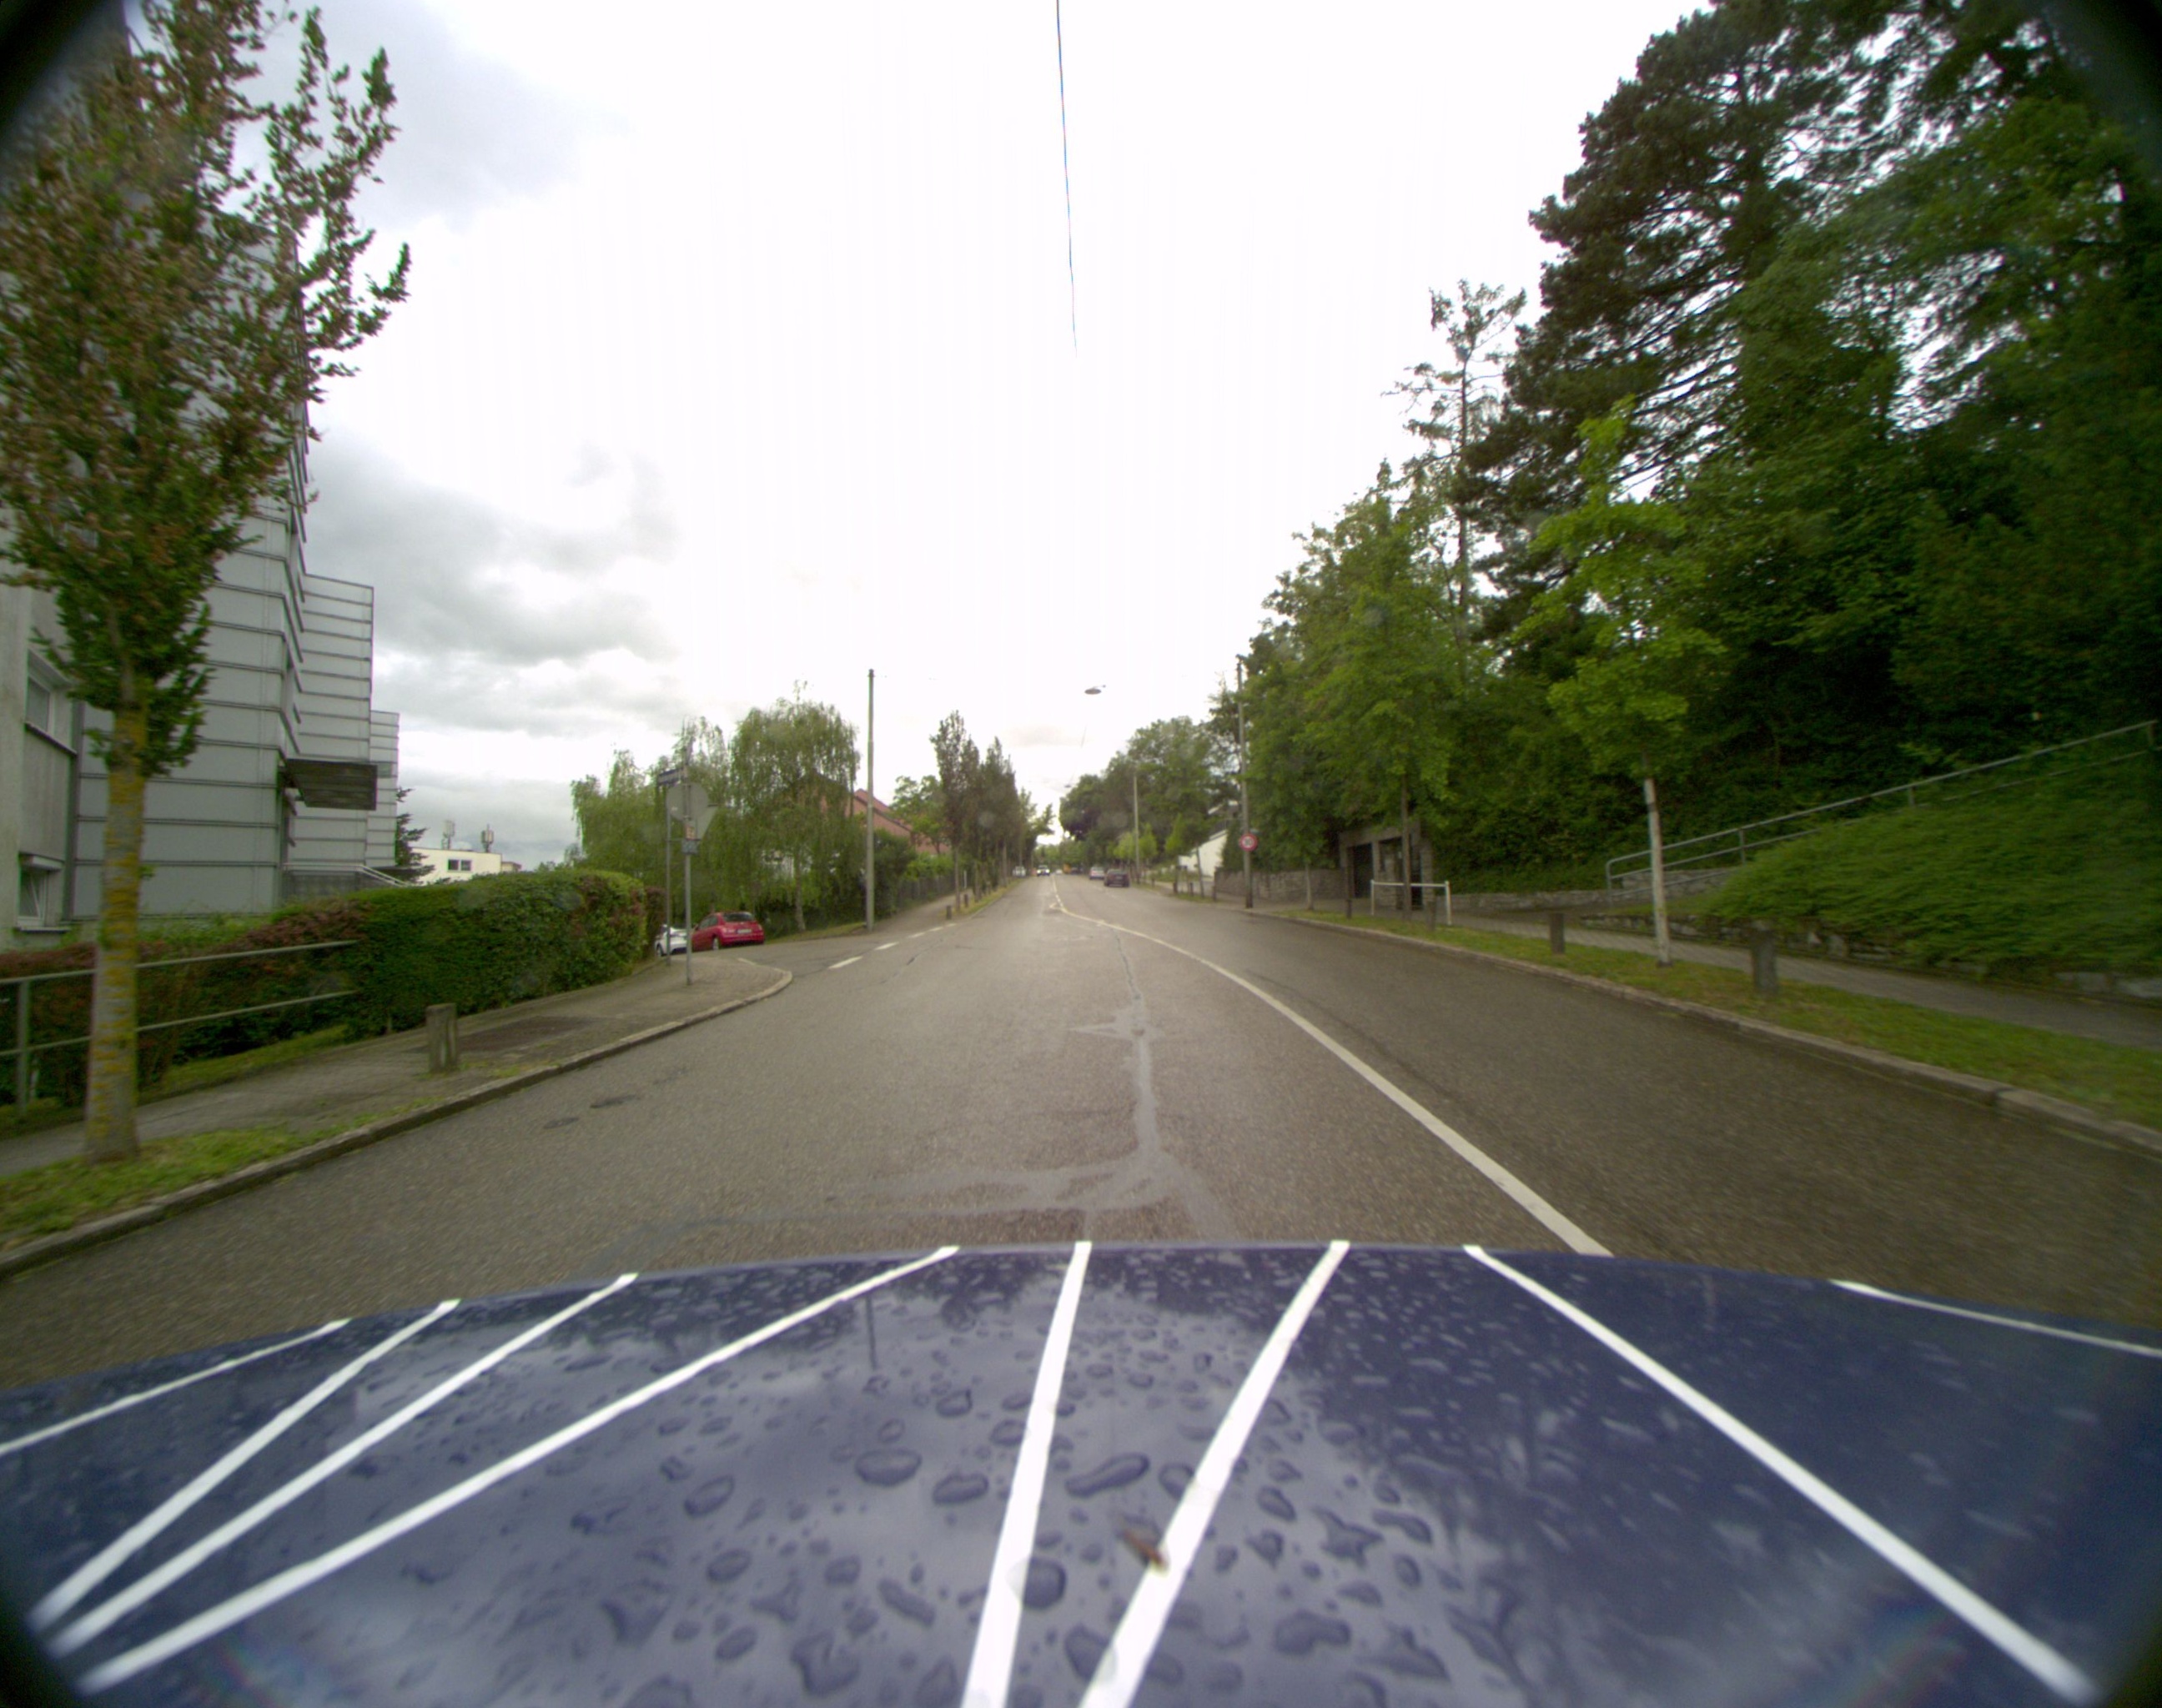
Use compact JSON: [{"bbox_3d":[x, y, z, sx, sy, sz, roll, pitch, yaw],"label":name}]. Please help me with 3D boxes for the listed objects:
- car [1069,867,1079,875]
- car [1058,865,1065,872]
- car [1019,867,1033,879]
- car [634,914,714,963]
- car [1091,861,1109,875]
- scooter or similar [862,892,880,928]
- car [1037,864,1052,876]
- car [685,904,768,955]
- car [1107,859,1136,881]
[{"bbox_3d":[-1.414,3.251,148.509,1.750,1.540,3.917,2,-1,-3],"label":"car"},{"bbox_3d":[-4.599,3.401,180.055,1.766,1.477,3.999,0,0,-2],"label":"car"},{"bbox_3d":[-7.552,2.574,104.990,1.830,1.620,3.999,-1,-1,-4],"label":"car"},{"bbox_3d":[-17.143,3.587,31.904,1.730,1.531,4.366,-3,-7,-44],"label":"car"},{"bbox_3d":[2.073,1.530,85.085,1.770,1.477,3.801,2,-1,-2],"label":"car"},{"bbox_3d":[-7.916,2.104,28.664,0.343,1.247,1.267,-4,1,-3],"label":"scooter or similar"},{"bbox_3d":[-5.542,2.438,115.317,1.998,1.673,4.001,-4,-2,0],"label":"car"},{"bbox_3d":[-13.200,2.825,28.193,1.648,1.512,3.563,0,-8,-44],"label":"car"},{"bbox_3d":[3.191,1.249,61.410,1.916,1.575,4.586,3,-1,-1],"label":"car"}]
